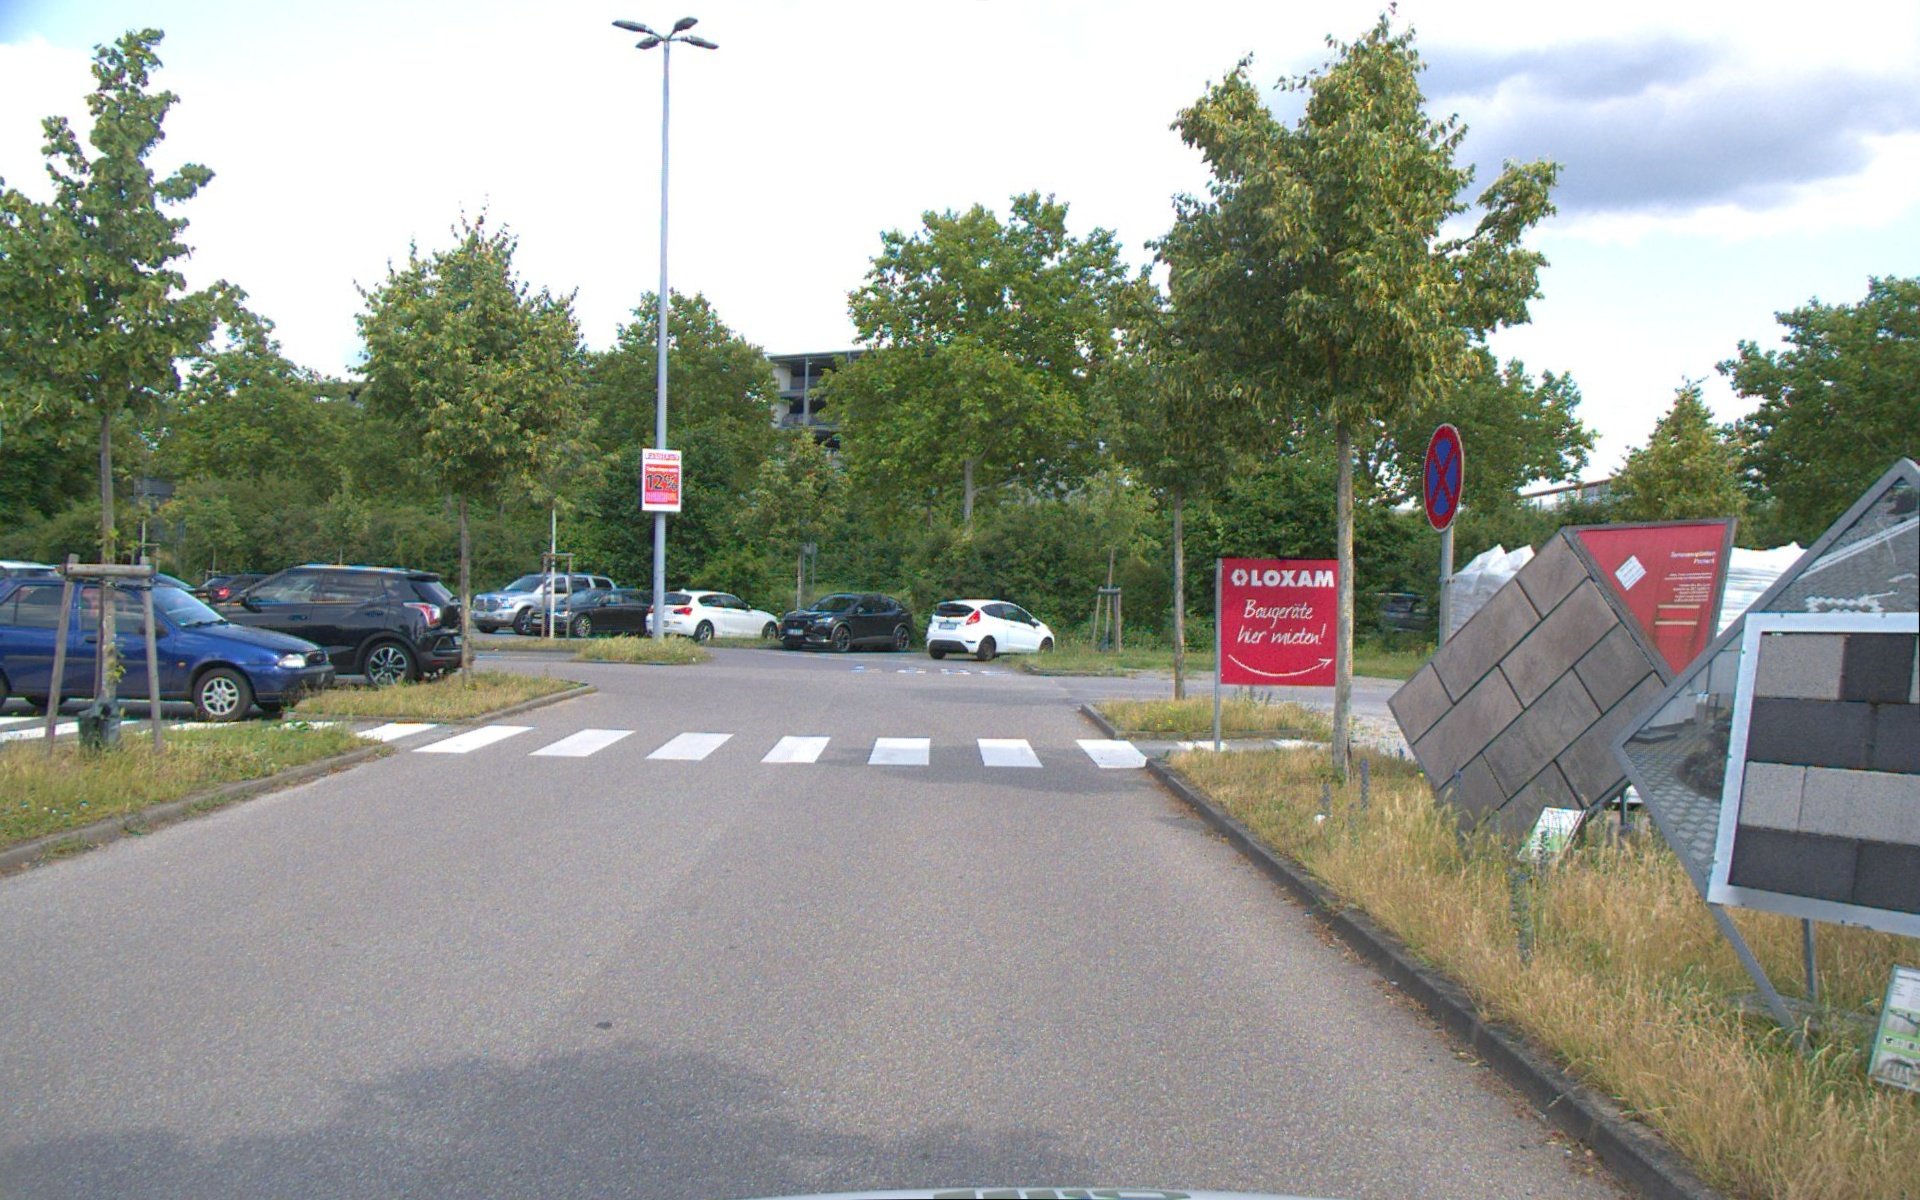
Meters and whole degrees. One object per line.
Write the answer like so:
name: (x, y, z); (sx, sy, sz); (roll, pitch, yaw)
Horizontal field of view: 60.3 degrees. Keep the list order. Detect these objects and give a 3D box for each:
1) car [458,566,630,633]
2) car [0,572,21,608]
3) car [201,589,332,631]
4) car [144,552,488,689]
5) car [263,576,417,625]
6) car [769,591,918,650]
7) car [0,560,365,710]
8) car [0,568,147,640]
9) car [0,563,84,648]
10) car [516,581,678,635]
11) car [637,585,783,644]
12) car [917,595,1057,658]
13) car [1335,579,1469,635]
car: (-12.543, 0.002, 50.164); (1.948, 1.875, 5.135); (2, 0, 32)
car: (-40.821, -0.447, 67.892); (1.599, 1.494, 3.634); (0, -1, 33)
car: (-24.219, 0.383, 57.881); (1.663, 1.405, 3.990); (-1, -1, 32)
car: (-8.523, 0.258, 22.110); (3.869, 1.653, 1.736); (2, 0, 1)
car: (-20.362, 0.034, 54.517); (1.747, 1.531, 4.641); (2, 0, 32)
car: (-3.007, 0.531, 43.542); (1.697, 1.435, 4.230); (2, 0, 33)
car: (-8.304, 0.332, 17.097); (3.674, 1.391, 1.621); (2, 0, -1)
car: (-19.871, 0.058, 35.407); (3.994, 1.423, 1.765); (2, 0, -3)
car: (-19.407, 0.068, 32.542); (3.367, 1.609, 1.709); (2, 0, -3)
car: (-10.634, 0.233, 48.816); (1.802, 1.476, 4.709); (2, 0, 34)
car: (-6.896, 0.404, 45.934); (1.657, 1.536, 4.066); (1, 0, 36)
car: (0.701, 0.633, 40.662); (1.638, 1.436, 3.541); (2, 0, 38)
car: (14.731, 0.263, 55.138); (3.914, 1.746, 1.995); (-1, -3, 32)
